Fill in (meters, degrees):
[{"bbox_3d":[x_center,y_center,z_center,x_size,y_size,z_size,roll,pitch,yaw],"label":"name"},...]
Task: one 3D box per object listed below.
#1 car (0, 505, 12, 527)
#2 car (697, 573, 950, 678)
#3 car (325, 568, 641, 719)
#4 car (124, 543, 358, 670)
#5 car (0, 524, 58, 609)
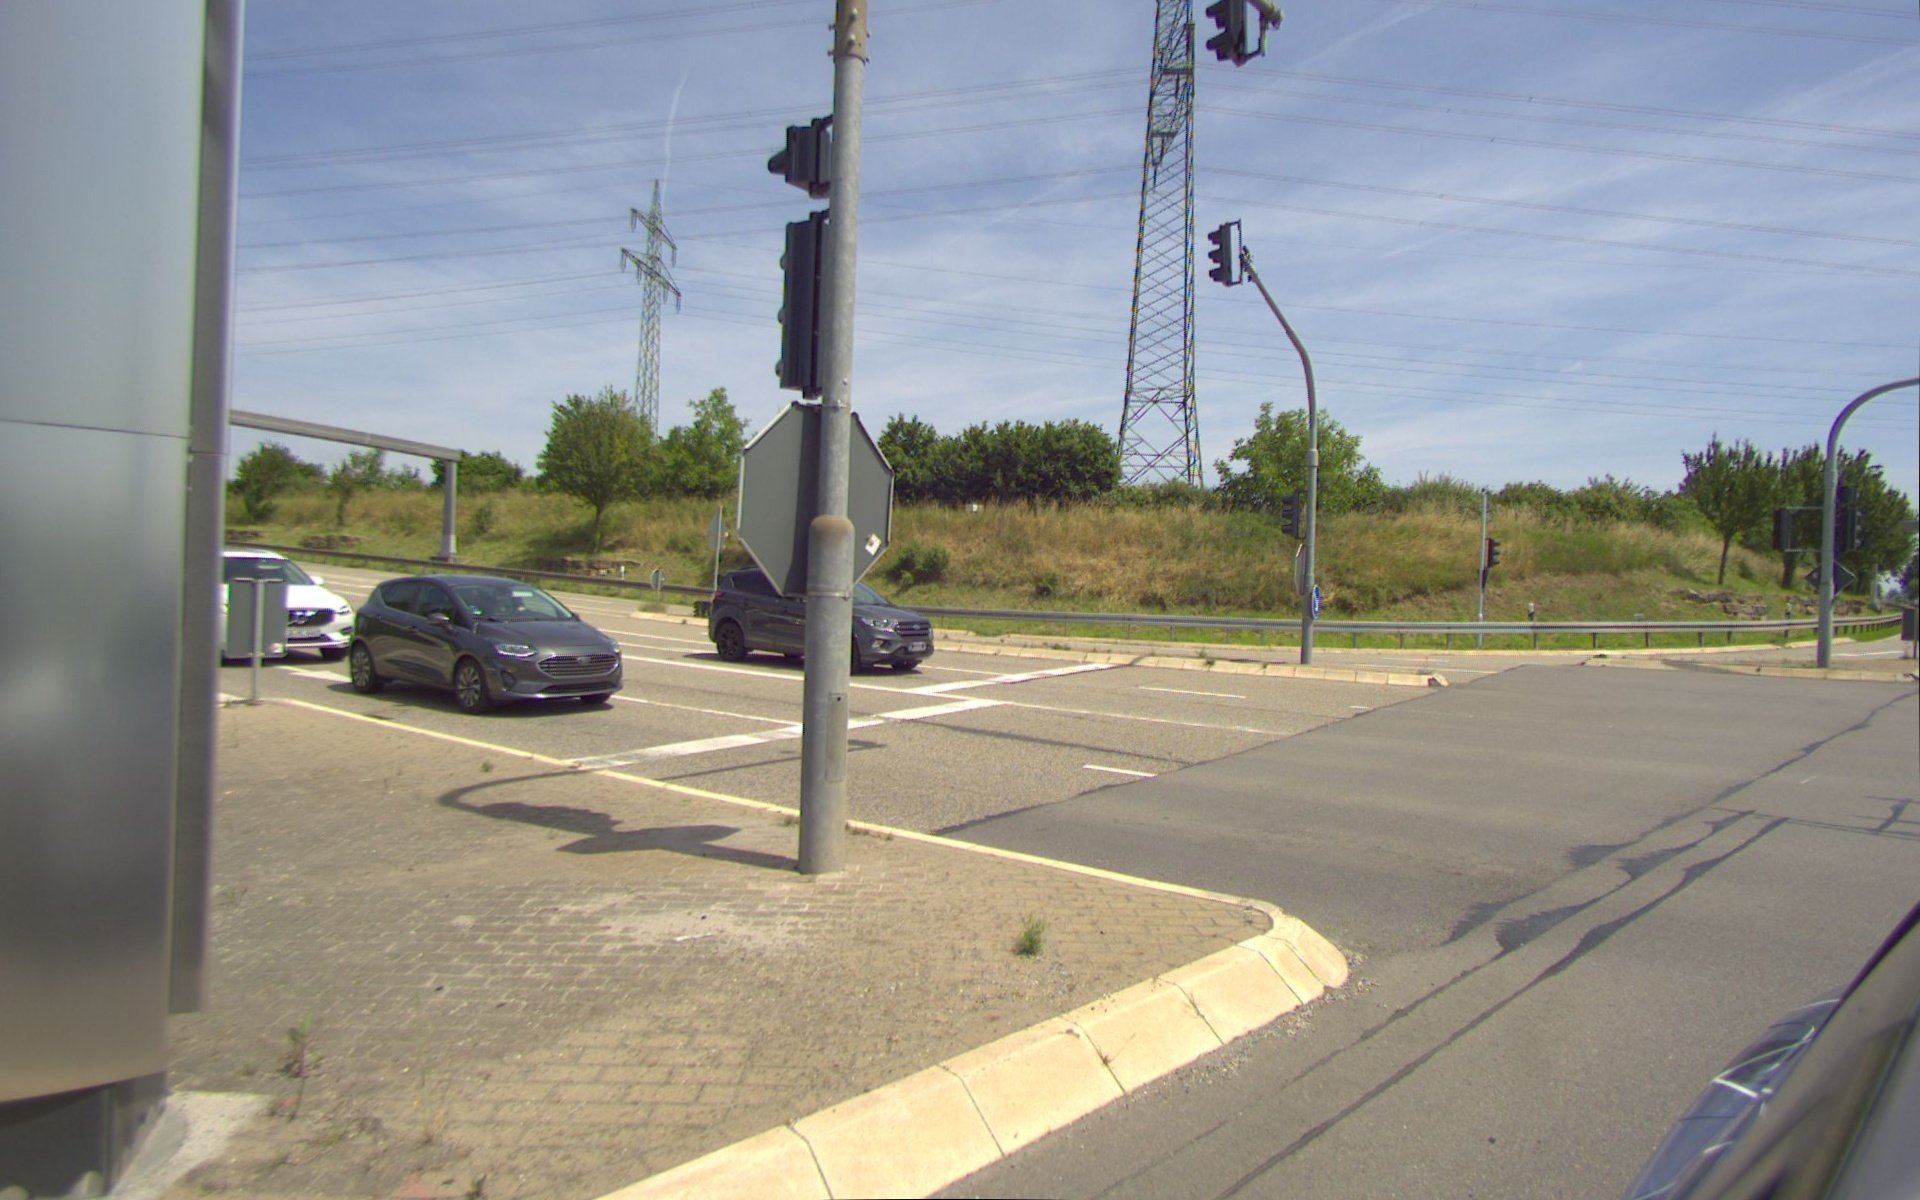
[{"bbox_3d":[-71.613,-6.276,74.159,4.261,1.551,1.734,5,0,28],"label":"car"},{"bbox_3d":[-2.425,0.347,17.452,4.344,1.529,1.695,2,2,35],"label":"car"},{"bbox_3d":[-5.765,0.391,12.079,3.974,1.529,1.695,1,1,35],"label":"car"},{"bbox_3d":[-11.370,0.005,15.894,4.349,1.611,1.756,5,3,37],"label":"car"},{"bbox_3d":[-20.834,-0.775,21.352,3.974,1.619,1.761,5,4,34],"label":"car"}]
